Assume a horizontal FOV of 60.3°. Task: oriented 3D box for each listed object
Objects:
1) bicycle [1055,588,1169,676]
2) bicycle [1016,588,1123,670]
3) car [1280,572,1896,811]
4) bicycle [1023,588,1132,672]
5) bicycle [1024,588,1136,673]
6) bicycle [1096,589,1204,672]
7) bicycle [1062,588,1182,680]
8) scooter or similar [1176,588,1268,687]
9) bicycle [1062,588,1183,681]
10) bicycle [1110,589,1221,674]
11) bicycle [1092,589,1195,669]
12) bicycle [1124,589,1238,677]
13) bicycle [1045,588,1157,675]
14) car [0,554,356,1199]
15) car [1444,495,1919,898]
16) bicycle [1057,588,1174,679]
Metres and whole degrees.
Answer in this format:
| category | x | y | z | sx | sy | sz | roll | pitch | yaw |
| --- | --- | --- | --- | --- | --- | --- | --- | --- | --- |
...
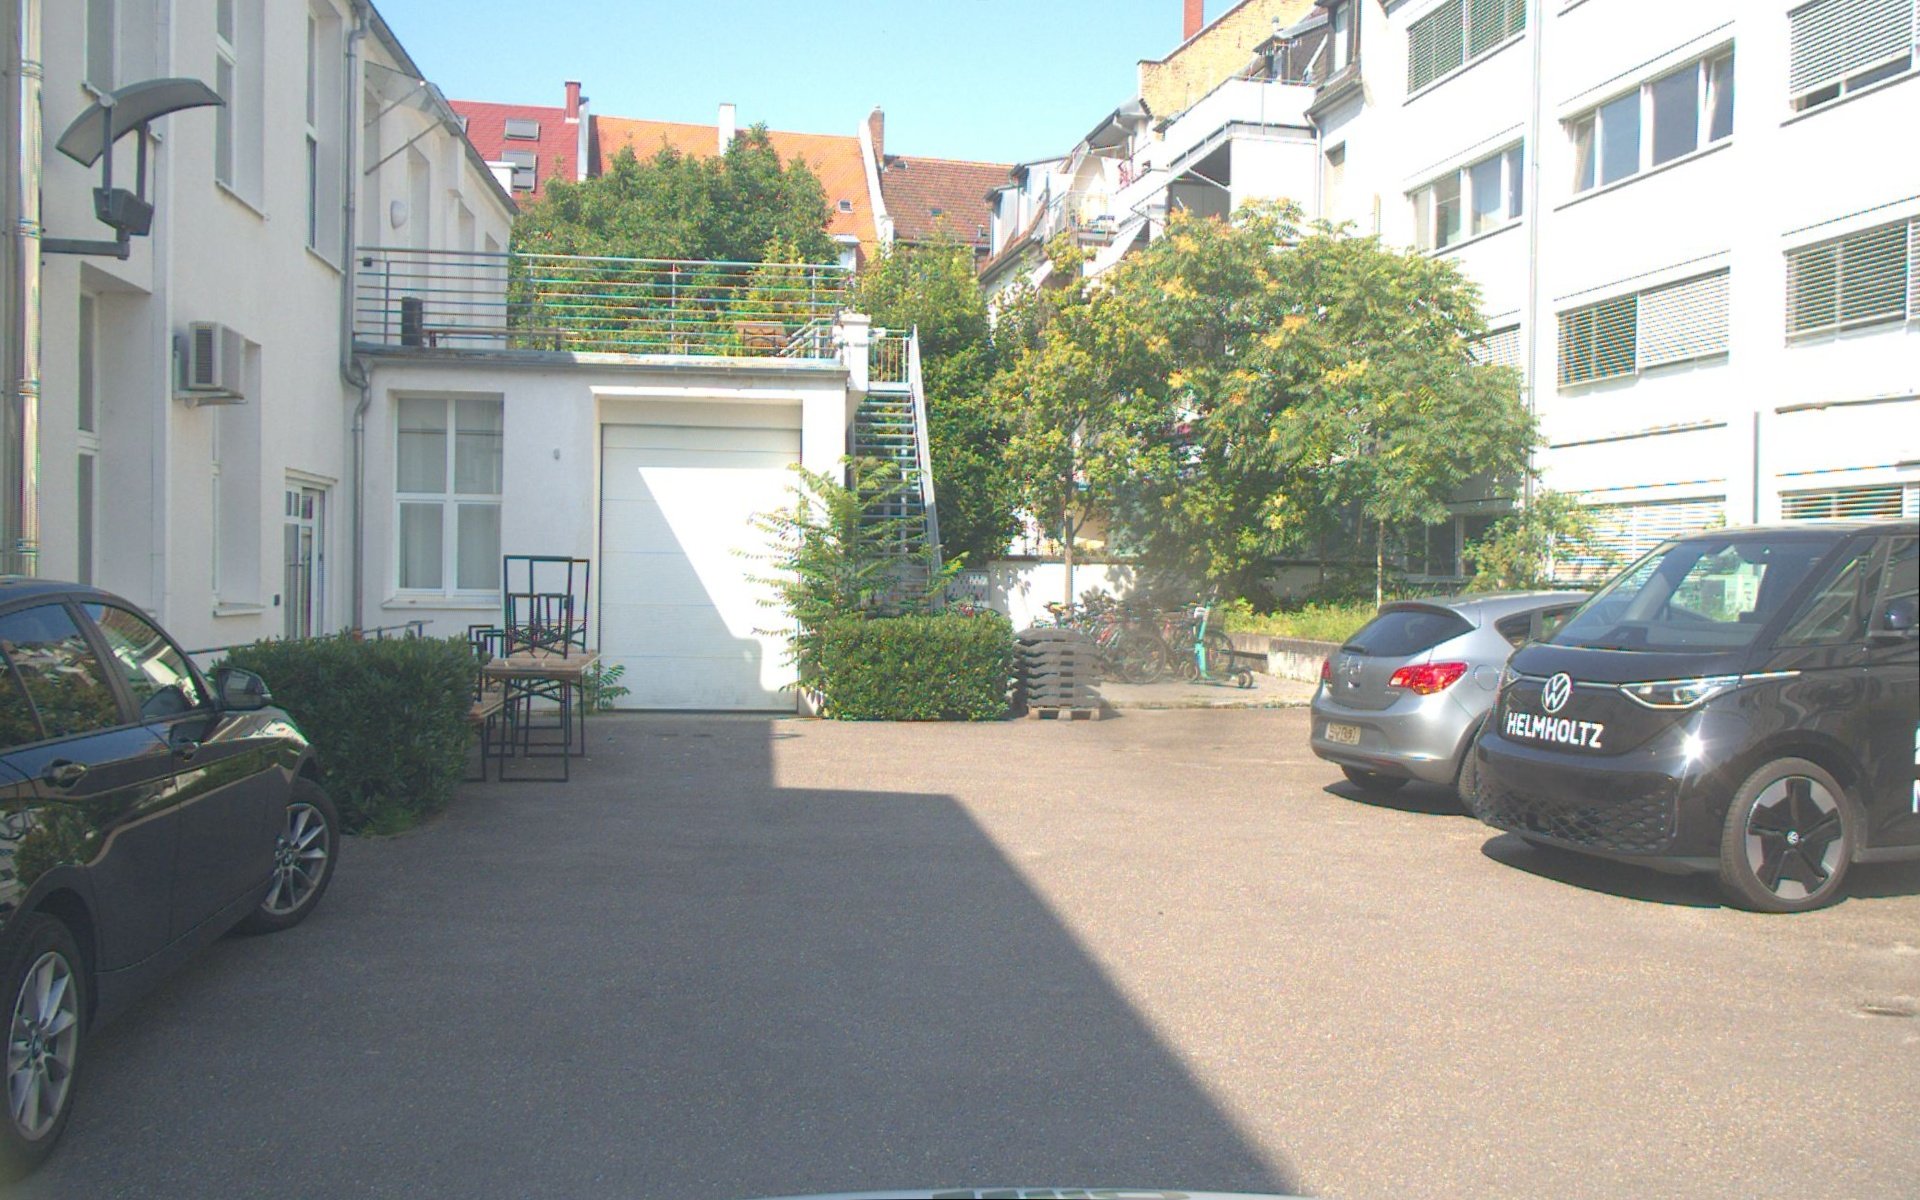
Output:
| category | x | y | z | sx | sy | sz | roll | pitch | yaw |
| --- | --- | --- | --- | --- | --- | --- | --- | --- | --- |
| bicycle | 2.140 | 0.451 | 23.400 | 1.589 | 1.235 | 0.327 | 0 | 0 | 3 |
| bicycle | 1.698 | 0.437 | 25.638 | 1.594 | 1.235 | 0.423 | -1 | 1 | -12 |
| car | 4.446 | 0.578 | 11.856 | 3.868 | 1.508 | 1.767 | 0 | 0 | -16 |
| bicycle | 1.772 | 0.441 | 25.041 | 1.595 | 1.235 | 0.423 | -1 | 1 | -13 |
| bicycle | 1.762 | 0.443 | 24.401 | 1.592 | 1.235 | 0.423 | 0 | 1 | -8 |
| bicycle | 2.847 | 0.457 | 24.833 | 1.588 | 1.235 | 0.424 | 0 | 0 | 5 |
| bicycle | 2.218 | 0.455 | 22.661 | 1.591 | 1.235 | 0.326 | 0 | 0 | -6 |
| scooter or similar | 3.515 | 0.482 | 22.251 | 0.376 | 1.283 | 1.330 | -1 | 1 | -38 |
| bicycle | 2.190 | 0.456 | 22.334 | 1.591 | 1.235 | 0.326 | 0 | 0 | -6 |
| bicycle | 3.009 | 0.461 | 24.273 | 1.588 | 1.235 | 0.424 | 0 | 0 | 6 |
| bicycle | 2.870 | 0.453 | 25.868 | 1.588 | 1.235 | 0.424 | 0 | 0 | 5 |
| bicycle | 3.129 | 0.466 | 23.422 | 1.588 | 1.235 | 0.327 | 0 | 0 | 8 |
| bicycle | 2.022 | 0.448 | 23.752 | 1.588 | 1.235 | 0.327 | 0 | 0 | 6 |
| car | -3.082 | 0.625 | 4.860 | 1.657 | 1.484 | 3.916 | 1 | 0 | -8 |
| car | 5.100 | 0.435 | 9.033 | 4.427 | 1.826 | 1.875 | 0 | 0 | -16 |
| bicycle | 2.156 | 0.453 | 22.949 | 1.591 | 1.235 | 0.326 | 0 | 0 | -6 |
